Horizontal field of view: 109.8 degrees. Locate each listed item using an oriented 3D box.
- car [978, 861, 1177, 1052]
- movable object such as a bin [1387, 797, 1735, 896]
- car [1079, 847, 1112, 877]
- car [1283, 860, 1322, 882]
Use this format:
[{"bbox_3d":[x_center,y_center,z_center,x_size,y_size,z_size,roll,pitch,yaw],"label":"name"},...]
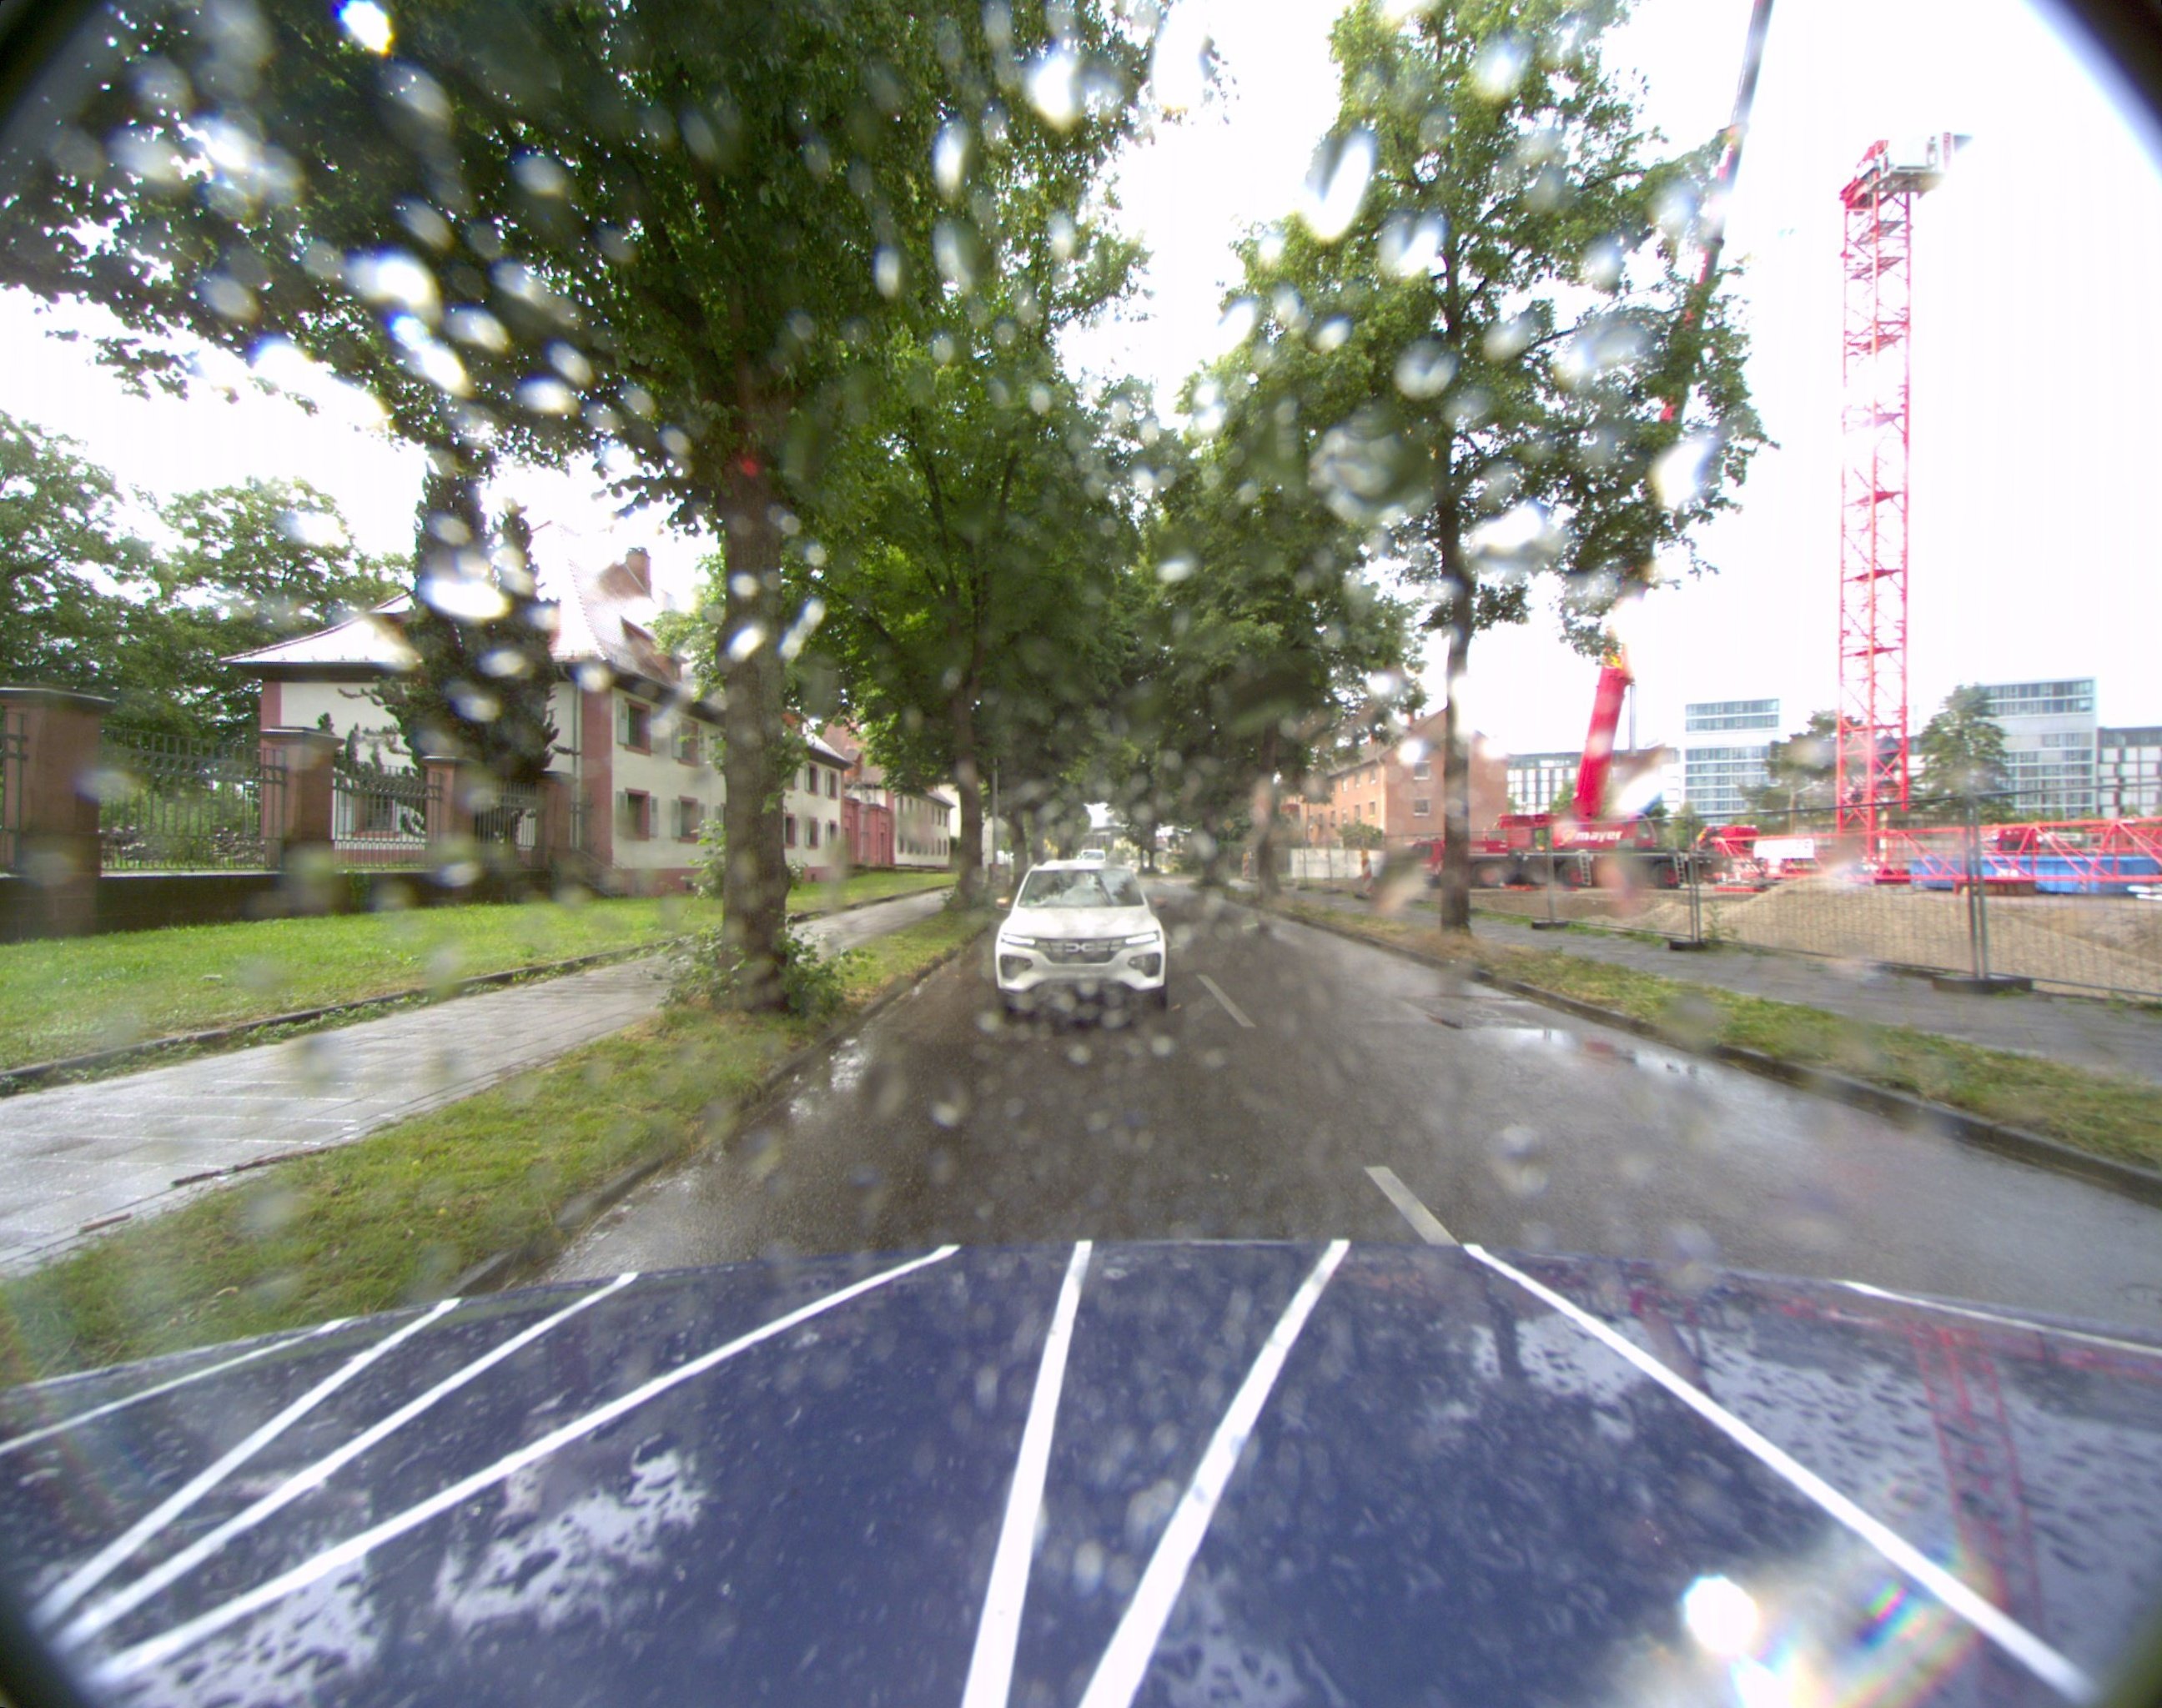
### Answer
[{"bbox_3d":[0.012,0.866,8.268,1.608,1.499,4.000,-1,0,1],"label":"car"},{"bbox_3d":[24.931,-0.367,40.241,15.941,4.532,3.102,-2,1,4],"label":"movable object such as a bin"},{"bbox_3d":[1.014,0.523,55.604,2.107,1.990,5.433,-2,1,-1],"label":"car"},{"bbox_3d":[16.687,1.241,57.360,1.693,1.521,3.999,-2,1,-1],"label":"car"}]
